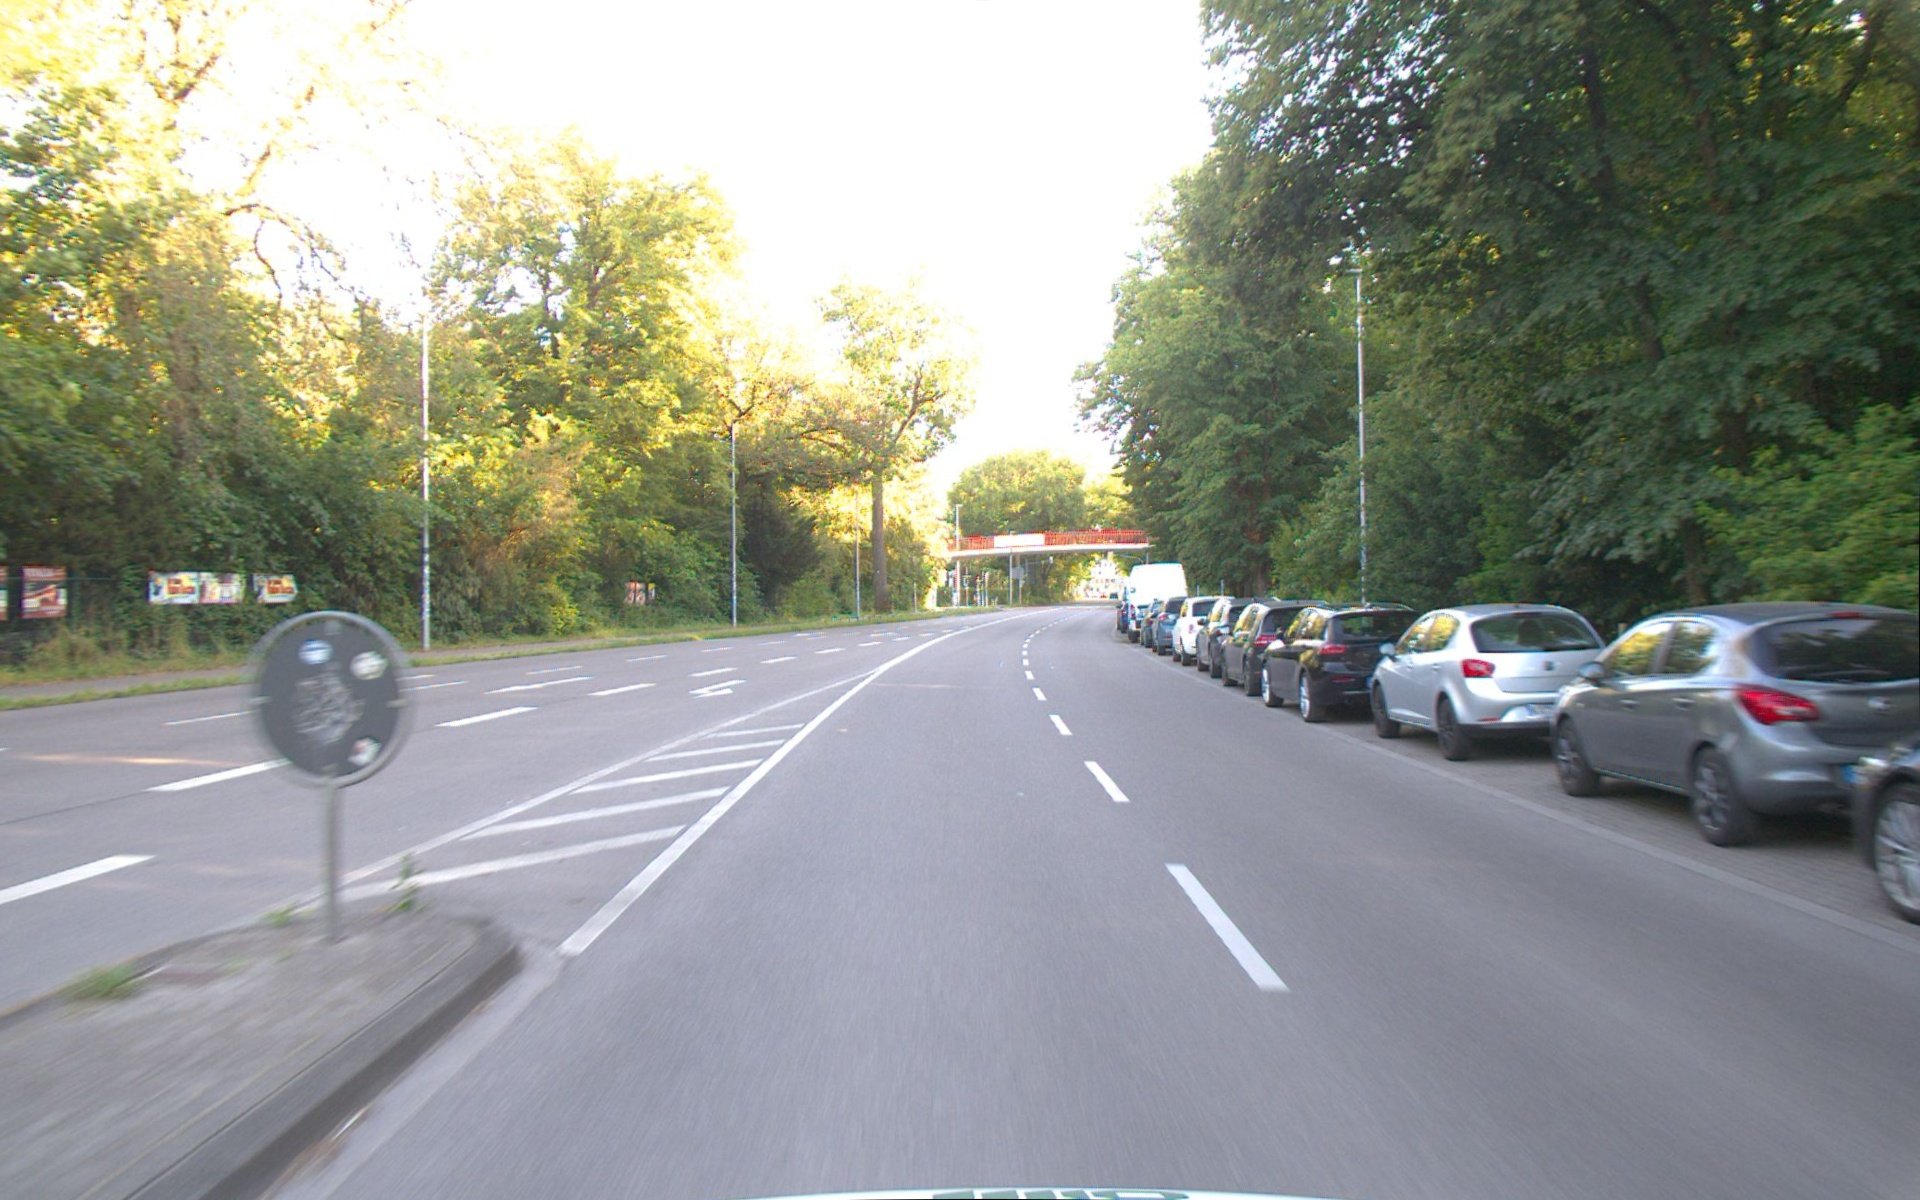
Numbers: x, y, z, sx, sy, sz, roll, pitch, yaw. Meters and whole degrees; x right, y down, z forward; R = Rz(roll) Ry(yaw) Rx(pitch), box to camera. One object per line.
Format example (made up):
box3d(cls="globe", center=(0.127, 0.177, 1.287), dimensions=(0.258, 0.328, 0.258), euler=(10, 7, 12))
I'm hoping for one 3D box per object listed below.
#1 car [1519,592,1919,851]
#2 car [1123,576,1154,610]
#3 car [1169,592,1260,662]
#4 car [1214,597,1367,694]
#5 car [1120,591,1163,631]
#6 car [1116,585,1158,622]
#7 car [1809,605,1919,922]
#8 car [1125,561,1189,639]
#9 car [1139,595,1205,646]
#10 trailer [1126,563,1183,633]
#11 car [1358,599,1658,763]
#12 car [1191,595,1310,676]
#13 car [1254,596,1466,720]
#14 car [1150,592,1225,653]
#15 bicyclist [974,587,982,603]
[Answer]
box3d(cls="car", center=(5.611, 0.715, 11.925), dimensions=(1.683, 1.494, 4.202), euler=(-2, 0, 0))
box3d(cls="car", center=(11.228, -0.424, 103.639), dimensions=(1.829, 2.016, 5.479), euler=(-2, 0, 7))
box3d(cls="car", center=(5.837, 0.601, 38.297), dimensions=(1.642, 1.489, 3.690), euler=(-2, 0, 2))
box3d(cls="car", center=(5.382, 0.690, 27.456), dimensions=(1.682, 1.436, 4.488), euler=(-2, 0, 1))
box3d(cls="car", center=(7.522, 0.451, 68.858), dimensions=(1.642, 1.562, 4.356), euler=(-2, 0, 5))
box3d(cls="car", center=(7.945, 0.151, 74.618), dimensions=(1.722, 1.562, 4.992), euler=(-2, 0, 5))
box3d(cls="car", center=(5.412, 0.765, 6.350), dimensions=(1.683, 1.494, 4.987), euler=(-2, 0, 0))
box3d(cls="car", center=(6.616, -0.001, 55.910), dimensions=(1.864, 2.466, 5.579), euler=(-2, 0, 4))
box3d(cls="car", center=(6.337, 0.594, 49.842), dimensions=(1.642, 1.425, 4.652), euler=(-2, 0, 3))
box3d(cls="trailer", center=(7.320, -0.073, 62.666), dimensions=(1.864, 2.466, 5.129), euler=(-2, 0, 4))
box3d(cls="car", center=(5.493, 0.739, 17.126), dimensions=(1.683, 1.436, 4.124), euler=(-2, 0, 0))
box3d(cls="car", center=(5.676, 0.654, 32.822), dimensions=(1.682, 1.436, 4.908), euler=(-2, 0, 2))
box3d(cls="car", center=(5.195, 0.699, 22.068), dimensions=(1.683, 1.436, 4.487), euler=(-2, 0, 0))
box3d(cls="car", center=(6.021, 0.566, 44.102), dimensions=(1.642, 1.489, 4.068), euler=(-2, 0, 3))
box3d(cls="bicyclist", center=(1.841, -0.512, 172.812), dimensions=(0.697, 1.586, 1.143), euler=(0, 0, 6))
